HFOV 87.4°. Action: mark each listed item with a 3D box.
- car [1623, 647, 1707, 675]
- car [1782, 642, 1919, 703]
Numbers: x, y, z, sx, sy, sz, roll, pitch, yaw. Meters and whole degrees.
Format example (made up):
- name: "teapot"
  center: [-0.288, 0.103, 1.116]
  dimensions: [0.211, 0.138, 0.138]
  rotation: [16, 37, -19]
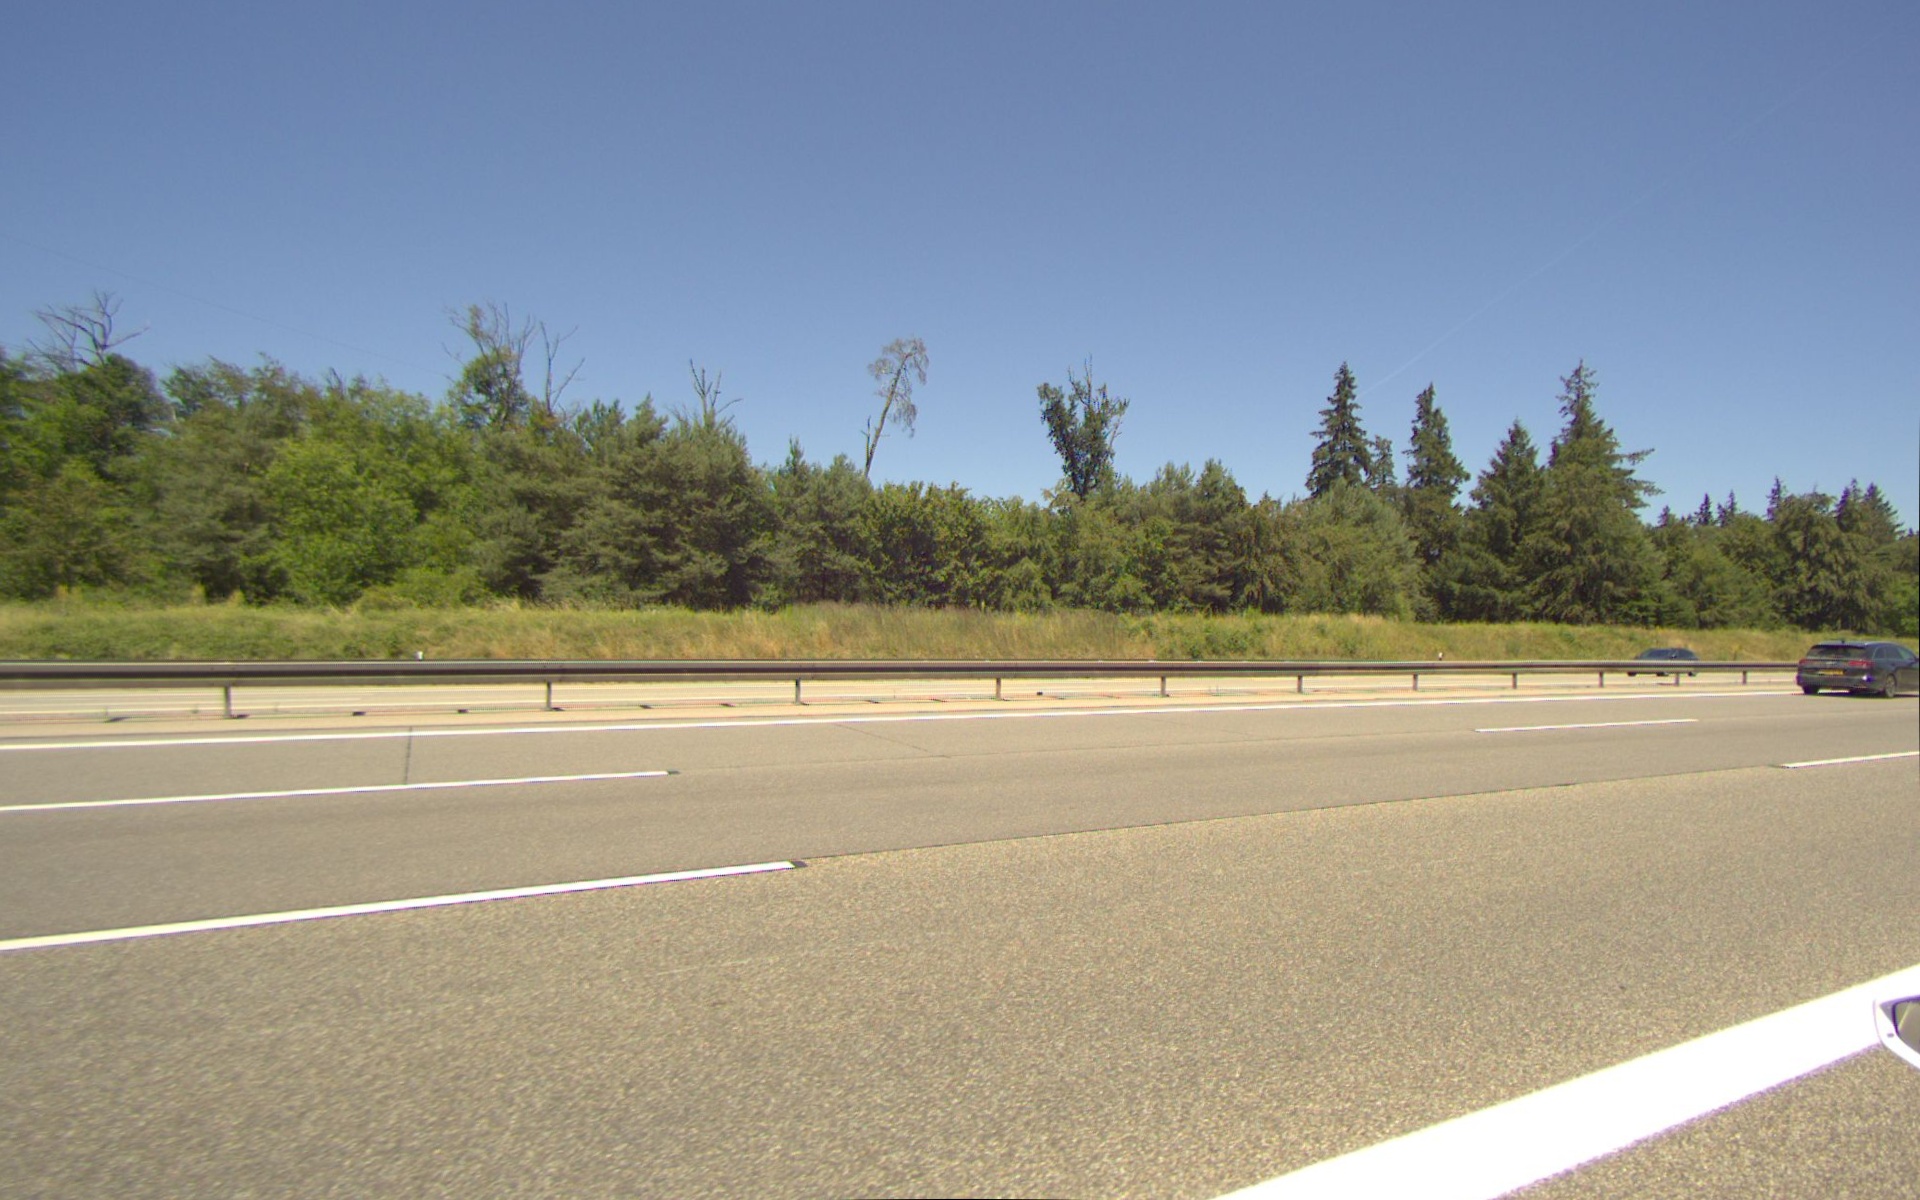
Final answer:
- name: "car"
  center: [36.884, 3.178, 52.549]
  dimensions: [4.618, 1.409, 1.685]
  rotation: [1, -4, -29]
- name: "car"
  center: [24.225, 1.875, 26.790]
  dimensions: [4.937, 1.450, 1.825]
  rotation: [2, -1, -28]
